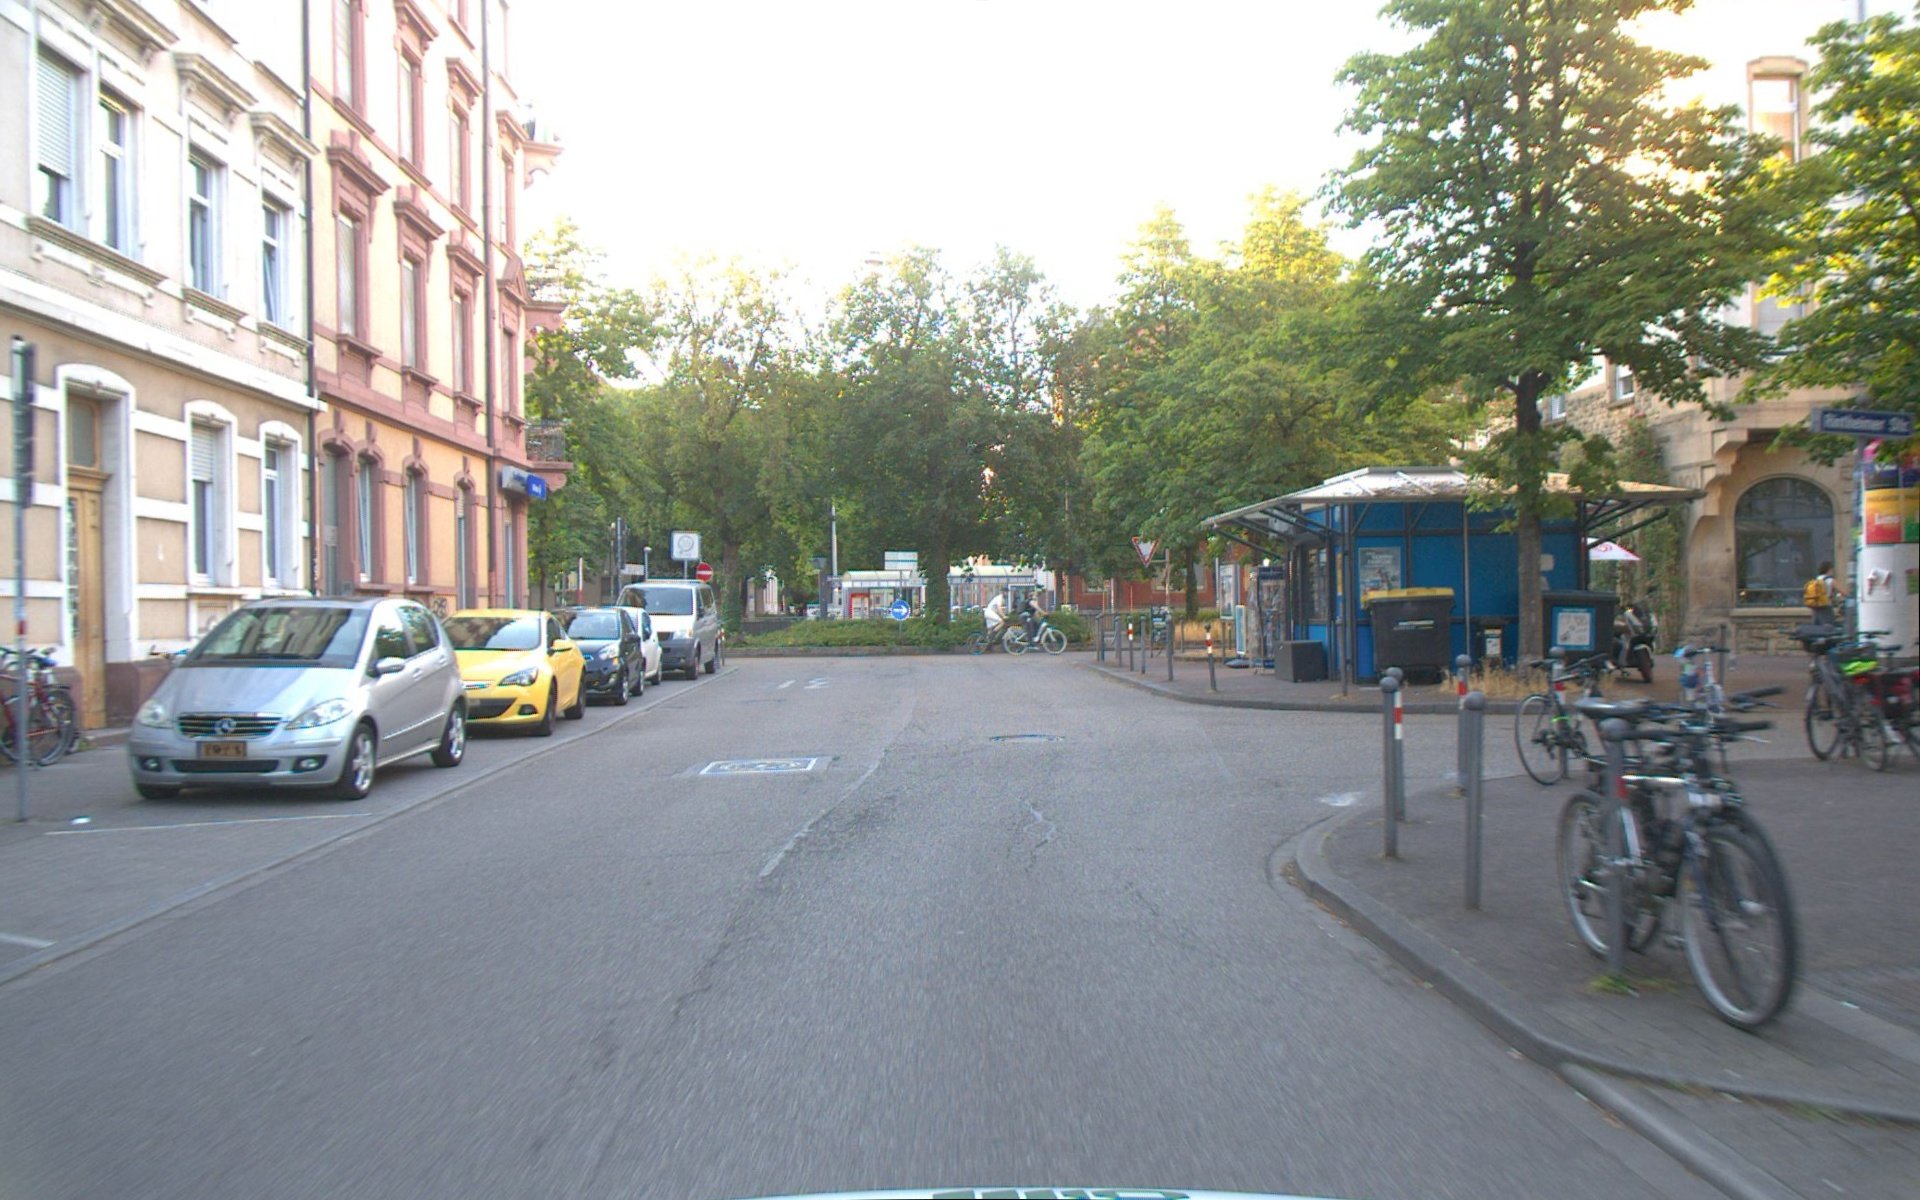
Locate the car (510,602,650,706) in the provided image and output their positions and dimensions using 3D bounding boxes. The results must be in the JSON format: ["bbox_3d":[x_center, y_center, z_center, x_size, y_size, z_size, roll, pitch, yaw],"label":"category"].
[{"bbox_3d":[-5.963,0.815,26.313,1.695,1.517,3.737,1,0,-6],"label":"car"}]

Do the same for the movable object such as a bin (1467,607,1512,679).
[{"bbox_3d":[7.640,0.615,23.866,0.470,1.019,0.487,-1,0,-1],"label":"movable object such as a bin"}]

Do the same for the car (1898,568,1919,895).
[{"bbox_3d":[3.142,0.627,1.897,1.727,1.510,4.465,-4,0,3],"label":"car"}]

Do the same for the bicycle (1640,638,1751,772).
[{"bbox_3d":[6.005,0.828,13.572,0.437,0.996,1.707,-1,0,11],"label":"bicycle"}]

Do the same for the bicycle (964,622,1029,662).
[{"bbox_3d":[1.054,1.212,47.854,1.793,1.089,0.708,-1,0,-6],"label":"bicycle"}]

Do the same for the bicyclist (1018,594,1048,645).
[{"bbox_3d":[1.999,0.526,45.481,0.722,1.382,0.708,-1,0,-6],"label":"bicyclist"}]

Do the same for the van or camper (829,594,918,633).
[{"bbox_3d":[-7.179,1.149,137.121,7.224,3.137,2.669,0,-1,-7],"label":"van or camper"}]

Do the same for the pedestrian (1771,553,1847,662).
[{"bbox_3d":[14.641,0.133,28.521,0.961,1.820,1.002,-3,-1,36],"label":"pedestrian"}]

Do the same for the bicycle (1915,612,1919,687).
[{"bbox_3d":[13.843,0.650,22.213,1.698,1.013,0.579,-1,-1,-1],"label":"bicycle"}]

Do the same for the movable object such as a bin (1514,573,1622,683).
[{"bbox_3d":[8.758,0.393,23.861,1.254,1.501,0.820,3,0,7],"label":"movable object such as a bin"}]

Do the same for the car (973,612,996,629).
[{"bbox_3d":[2.389,2.022,162.888,1.954,1.733,4.716,0,-1,-3],"label":"car"}]

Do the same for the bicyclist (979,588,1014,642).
[{"bbox_3d":[1.049,0.441,47.864,0.898,1.529,0.708,-1,0,-6],"label":"bicyclist"}]

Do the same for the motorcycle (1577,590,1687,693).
[{"bbox_3d":[10.082,0.600,24.894,0.849,1.479,1.882,-1,0,-1],"label":"motorcycle"}]

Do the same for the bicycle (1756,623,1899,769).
[{"bbox_3d":[7.045,0.749,13.509,0.501,1.085,1.836,-1,0,11],"label":"bicycle"}]

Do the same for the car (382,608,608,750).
[{"bbox_3d":[-5.723,0.902,20.961,1.802,1.552,4.797,1,0,-4],"label":"car"}]

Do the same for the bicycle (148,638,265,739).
[{"bbox_3d":[-8.953,1.027,19.728,0.649,1.089,1.833,-1,0,-4],"label":"bicycle"}]

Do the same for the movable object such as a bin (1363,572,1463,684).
[{"bbox_3d":[6.505,0.396,23.807,1.196,1.501,0.766,-4,-1,7],"label":"movable object such as a bin"}]

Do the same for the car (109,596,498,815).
[{"bbox_3d":[-5.516,0.801,14.517,1.763,1.620,4.144,1,0,-1],"label":"car"}]

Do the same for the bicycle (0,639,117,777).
[{"bbox_3d":[-8.518,0.966,15.321,0.470,1.160,1.863,-1,0,-1],"label":"bicycle"}]

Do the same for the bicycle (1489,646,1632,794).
[{"bbox_3d":[4.698,0.907,12.907,1.464,1.058,0.425,0,-1,-44],"label":"bicycle"}]

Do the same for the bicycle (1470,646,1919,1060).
[{"bbox_3d":[2.621,0.809,6.171,0.670,1.171,2.114,-4,0,-1],"label":"bicycle"}]

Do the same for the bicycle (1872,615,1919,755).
[{"bbox_3d":[8.055,0.694,13.507,0.491,1.131,1.836,-1,0,11],"label":"bicycle"}]

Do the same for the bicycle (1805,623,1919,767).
[{"bbox_3d":[7.571,0.748,13.728,0.464,1.089,1.836,-1,0,11],"label":"bicycle"}]

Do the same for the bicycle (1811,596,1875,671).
[{"bbox_3d":[15.043,0.561,28.156,0.623,1.208,1.906,-3,-1,37],"label":"bicycle"}]

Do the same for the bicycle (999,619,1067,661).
[{"bbox_3d":[2.000,1.086,45.465,1.793,1.089,0.708,-1,0,-6],"label":"bicycle"}]

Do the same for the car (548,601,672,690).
[{"bbox_3d":[-6.392,0.805,30.555,1.650,1.517,3.611,1,0,-3],"label":"car"}]

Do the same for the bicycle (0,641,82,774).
[{"bbox_3d":[-8.852,0.986,15.310,0.470,1.160,1.863,-1,0,-1],"label":"bicycle"}]

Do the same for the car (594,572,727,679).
[{"bbox_3d":[-6.254,0.525,35.108,1.999,2.093,5.003,1,0,-2],"label":"car"}]
